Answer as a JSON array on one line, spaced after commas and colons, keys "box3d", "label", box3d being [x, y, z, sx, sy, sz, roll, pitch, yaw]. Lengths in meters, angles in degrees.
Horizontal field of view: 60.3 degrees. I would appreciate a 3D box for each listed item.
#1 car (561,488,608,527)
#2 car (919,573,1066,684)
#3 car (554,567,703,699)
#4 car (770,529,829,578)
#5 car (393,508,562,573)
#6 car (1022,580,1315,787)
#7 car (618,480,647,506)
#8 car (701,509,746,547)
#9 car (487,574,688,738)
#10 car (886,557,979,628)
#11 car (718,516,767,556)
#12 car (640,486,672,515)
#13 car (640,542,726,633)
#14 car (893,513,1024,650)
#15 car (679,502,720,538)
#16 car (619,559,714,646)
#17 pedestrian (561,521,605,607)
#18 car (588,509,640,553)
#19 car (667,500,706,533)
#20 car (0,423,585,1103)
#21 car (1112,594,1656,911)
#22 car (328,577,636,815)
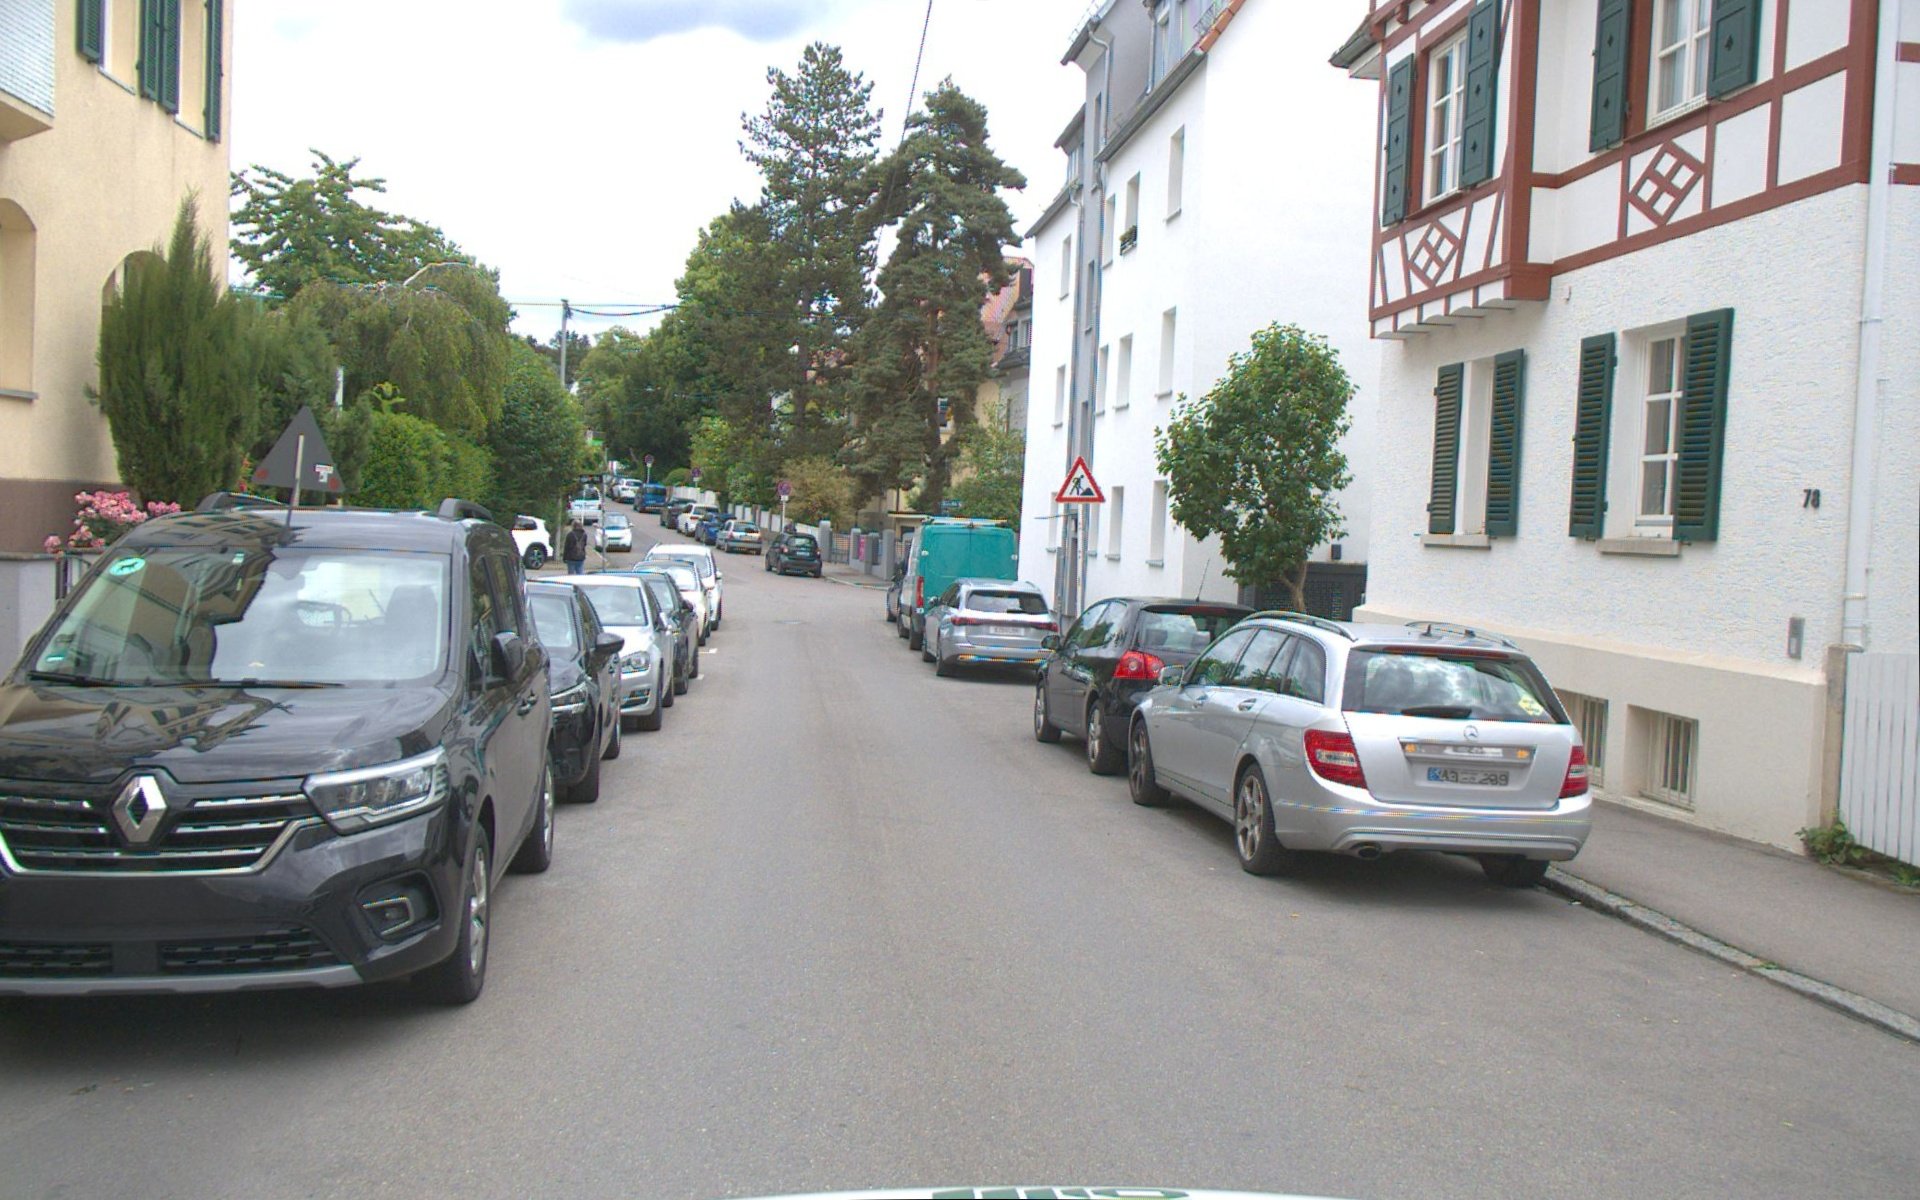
[{"box3d": [-20.055, -4.942, 88.228, 1.876, 1.908, 4.569, 1, 4, -21], "label": "car"}, {"box3d": [0.430, 0.394, 25.988, 1.692, 1.473, 3.875, 2, 2, -8], "label": "car"}, {"box3d": [-4.156, 0.355, 21.216, 1.566, 1.504, 3.985, 1, 1, -8], "label": "car"}, {"box3d": [-6.056, -1.765, 62.156, 1.607, 1.509, 3.519, 4, 4, -14], "label": "car"}, {"box3d": [-14.767, -1.796, 50.862, 1.960, 1.668, 4.795, 4, 1, 35], "label": "car"}, {"box3d": [1.750, 0.651, 15.131, 1.658, 1.546, 3.874, 3, 1, -8], "label": "car"}, {"box3d": [-22.437, -7.311, 113.171, 1.607, 1.563, 3.518, 3, 4, -16], "label": "car"}, {"box3d": [-11.148, -3.391, 77.860, 1.607, 1.509, 3.518, 3, 4, -16], "label": "car"}, {"box3d": [-3.679, 0.478, 16.888, 1.611, 1.441, 3.977, 1, 1, -8], "label": "car"}, {"box3d": [-0.691, -0.217, 38.525, 1.692, 1.473, 3.875, 2, 2, -8], "label": "car"}, {"box3d": [-9.686, -2.867, 73.537, 1.607, 1.509, 3.518, 3, 4, -16], "label": "car"}, {"box3d": [-18.980, -6.216, 103.275, 1.607, 1.563, 3.518, 3, 4, -16], "label": "car"}, {"box3d": [-5.860, -0.320, 35.332, 1.641, 1.685, 3.858, 1, 4, -8], "label": "car"}, {"box3d": [-0.106, -0.406, 32.317, 1.943, 2.403, 4.271, 2, 2, -8], "label": "car"}, {"box3d": [-13.201, -4.055, 83.669, 1.607, 1.563, 3.518, 3, 4, -16], "label": "car"}, {"box3d": [-5.490, 0.003, 31.243, 1.566, 1.437, 3.657, 1, 2, -8], "label": "car"}, {"box3d": [-8.839, -0.845, 38.806, 0.776, 1.966, 0.919, 3, 1, -4], "label": "pedestrian"}, {"box3d": [-14.706, -2.957, 70.227, 1.647, 1.685, 3.843, 1, 4, -19], "label": "car"}, {"box3d": [-14.853, -4.543, 89.719, 1.607, 1.563, 3.518, 3, 4, -16], "label": "car"}, {"box3d": [-2.625, 0.439, 6.789, 1.811, 1.847, 4.534, 1, 0, -10], "label": "car"}, {"box3d": [2.370, 0.776, 10.580, 1.784, 1.467, 4.444, 3, 1, -8], "label": "car"}, {"box3d": [-3.282, 0.569, 12.010, 1.612, 1.412, 3.852, 1, 1, -9], "label": "car"}]
